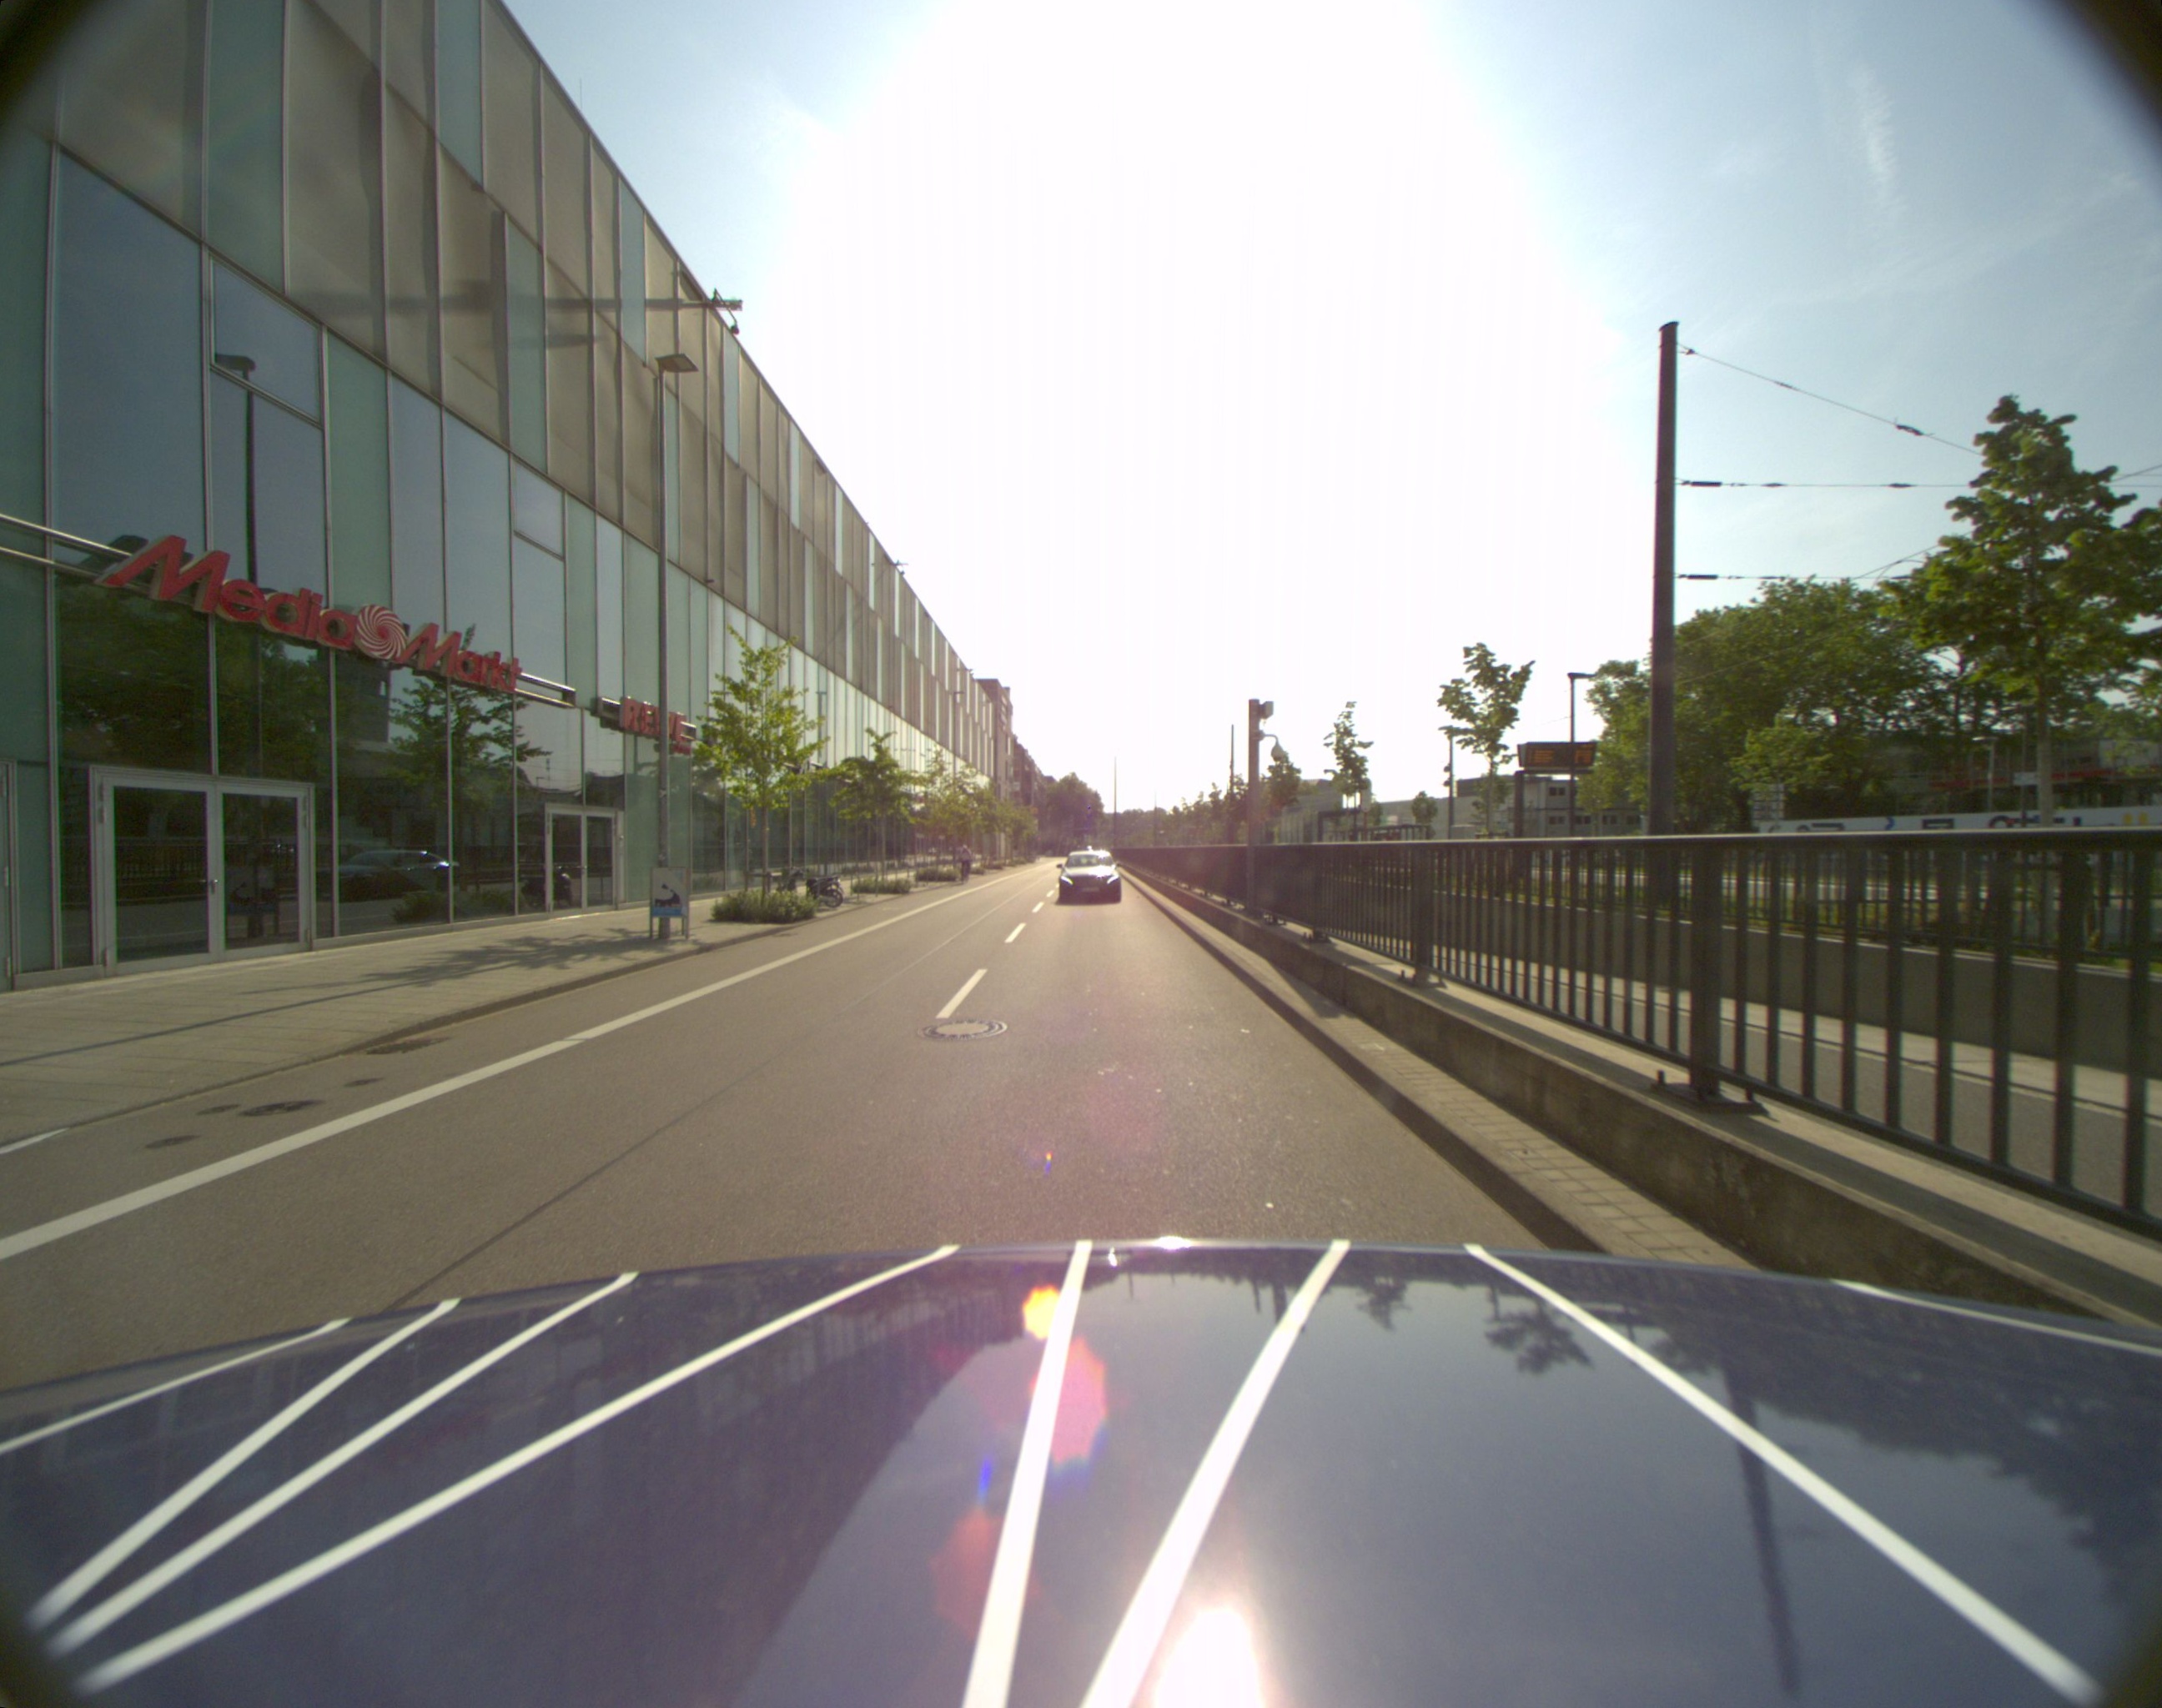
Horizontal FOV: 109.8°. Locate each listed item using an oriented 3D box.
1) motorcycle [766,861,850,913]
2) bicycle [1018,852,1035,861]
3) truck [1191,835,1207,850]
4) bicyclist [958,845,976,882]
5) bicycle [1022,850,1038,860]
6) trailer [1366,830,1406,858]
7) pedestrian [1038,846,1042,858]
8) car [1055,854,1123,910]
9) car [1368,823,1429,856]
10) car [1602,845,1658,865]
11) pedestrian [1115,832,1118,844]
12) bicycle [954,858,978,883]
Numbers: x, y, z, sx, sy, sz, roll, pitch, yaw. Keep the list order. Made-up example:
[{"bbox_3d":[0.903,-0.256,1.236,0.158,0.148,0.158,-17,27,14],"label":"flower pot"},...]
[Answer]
[{"bbox_3d":[-7.282,0.864,20.372,1.975,1.342,0.866,0,1,-9],"label":"motorcycle"},{"bbox_3d":[-6.153,0.271,85.522,1.882,1.103,0.490,0,1,3],"label":"bicycle"},{"bbox_3d":[29.821,-2.911,192.264,3.028,3.565,8.890,0,0,1],"label":"truck"},{"bbox_3d":[-5.392,0.437,35.943,0.652,1.739,0.769,0,1,4],"label":"bicyclist"},{"bbox_3d":[-6.018,0.160,89.697,1.843,1.106,0.687,-2,1,3],"label":"bicycle"},{"bbox_3d":[31.136,-1.012,77.690,2.050,2.765,5.021,-2,1,1],"label":"trailer"},{"bbox_3d":[-5.642,-0.287,103.421,0.468,1.640,0.777,0,1,1],"label":"pedestrian"},{"bbox_3d":[0.359,0.727,22.547,1.716,1.429,5.058,-1,0,4],"label":"car"},{"bbox_3d":[35.459,-1.548,85.331,3.061,3.492,9.233,-1,1,1],"label":"car"},{"bbox_3d":[35.594,0.051,49.340,1.504,1.195,2.960,-1,1,1],"label":"car"},{"bbox_3d":[4.823,-2.169,103.155,0.468,1.640,0.777,0,1,1],"label":"pedestrian"},{"bbox_3d":[-5.405,0.755,35.758,0.662,1.111,2.051,0,0,4],"label":"bicycle"}]
